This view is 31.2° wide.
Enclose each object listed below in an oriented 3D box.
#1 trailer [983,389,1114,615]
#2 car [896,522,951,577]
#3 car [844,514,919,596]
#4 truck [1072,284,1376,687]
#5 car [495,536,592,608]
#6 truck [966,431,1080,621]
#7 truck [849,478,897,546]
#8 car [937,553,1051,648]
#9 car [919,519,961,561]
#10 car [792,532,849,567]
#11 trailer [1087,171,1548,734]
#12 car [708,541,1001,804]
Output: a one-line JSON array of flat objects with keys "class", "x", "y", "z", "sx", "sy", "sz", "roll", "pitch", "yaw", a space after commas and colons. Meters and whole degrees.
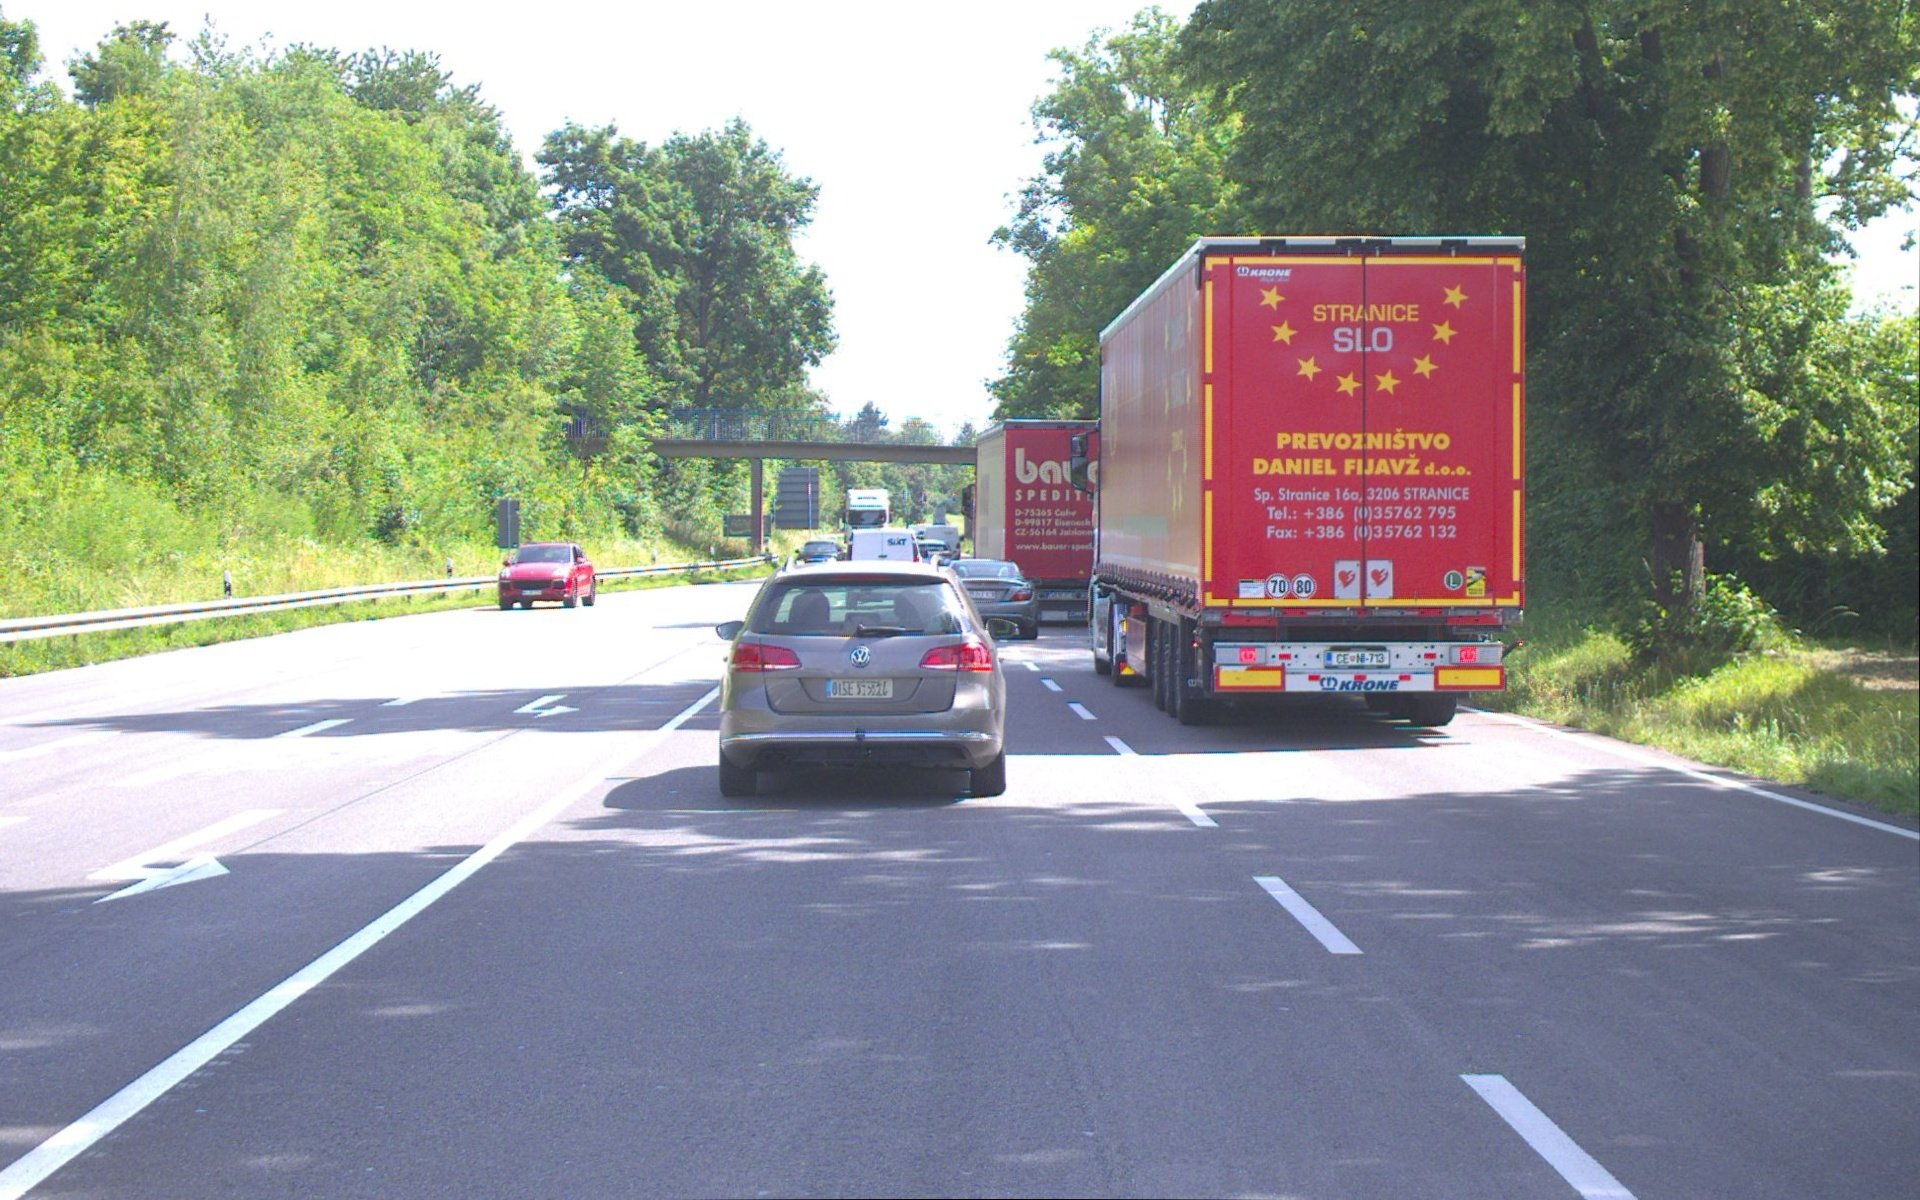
[{"class": "trailer", "x": 1.778, "y": -1.913, "z": 71.644, "sx": 2.395, "sy": 4.229, "sz": 13.077, "roll": -1, "pitch": 1, "yaw": 1}, {"class": "car", "x": -1.408, "y": -1.906, "z": 130.341, "sx": 1.993, "sy": 2.007, "sz": 4.000, "roll": -1, "pitch": 0, "yaw": -1}, {"class": "car", "x": -1.946, "y": -1.108, "z": 84.921, "sx": 1.770, "sy": 1.930, "sz": 3.978, "roll": -1, "pitch": 0, "yaw": -1}, {"class": "truck", "x": 2.923, "y": -1.248, "z": 39.671, "sx": 2.870, "sy": 4.266, "sz": 5.839, "roll": 1, "pitch": 0, "yaw": -1}, {"class": "car", "x": -10.749, "y": -0.727, "z": 89.019, "sx": 1.973, "sy": 1.790, "sz": 4.809, "roll": -1, "pitch": 1, "yaw": -1}, {"class": "truck", "x": 1.432, "y": -1.651, "z": 78.320, "sx": 2.406, "sy": 4.113, "sz": 5.521, "roll": -1, "pitch": 0, "yaw": 1}, {"class": "truck", "x": -5.268, "y": -5.273, "z": 207.249, "sx": 2.773, "sy": 3.917, "sz": 9.467, "roll": -1, "pitch": 0, "yaw": -2}, {"class": "car", "x": 0.538, "y": -0.017, "z": 57.773, "sx": 1.770, "sy": 1.508, "sz": 4.000, "roll": -1, "pitch": 1, "yaw": -1}, {"class": "car", "x": -0.998, "y": -2.974, "z": 170.236, "sx": 1.993, "sy": 2.007, "sz": 4.000, "roll": -1, "pitch": 0, "yaw": -1}, {"class": "car", "x": -5.758, "y": -2.088, "z": 142.275, "sx": 1.963, "sy": 1.410, "sz": 4.000, "roll": -1, "pitch": 0, "yaw": 3}, {"class": "trailer", "x": 3.036, "y": -1.211, "z": 33.430, "sx": 2.839, "sy": 4.350, "sz": 13.168, "roll": 1, "pitch": 1, "yaw": -1}, {"class": "car", "x": -0.665, "y": 0.409, "z": 22.179, "sx": 1.691, "sy": 1.508, "sz": 4.000, "roll": -1, "pitch": 1, "yaw": -1}]
